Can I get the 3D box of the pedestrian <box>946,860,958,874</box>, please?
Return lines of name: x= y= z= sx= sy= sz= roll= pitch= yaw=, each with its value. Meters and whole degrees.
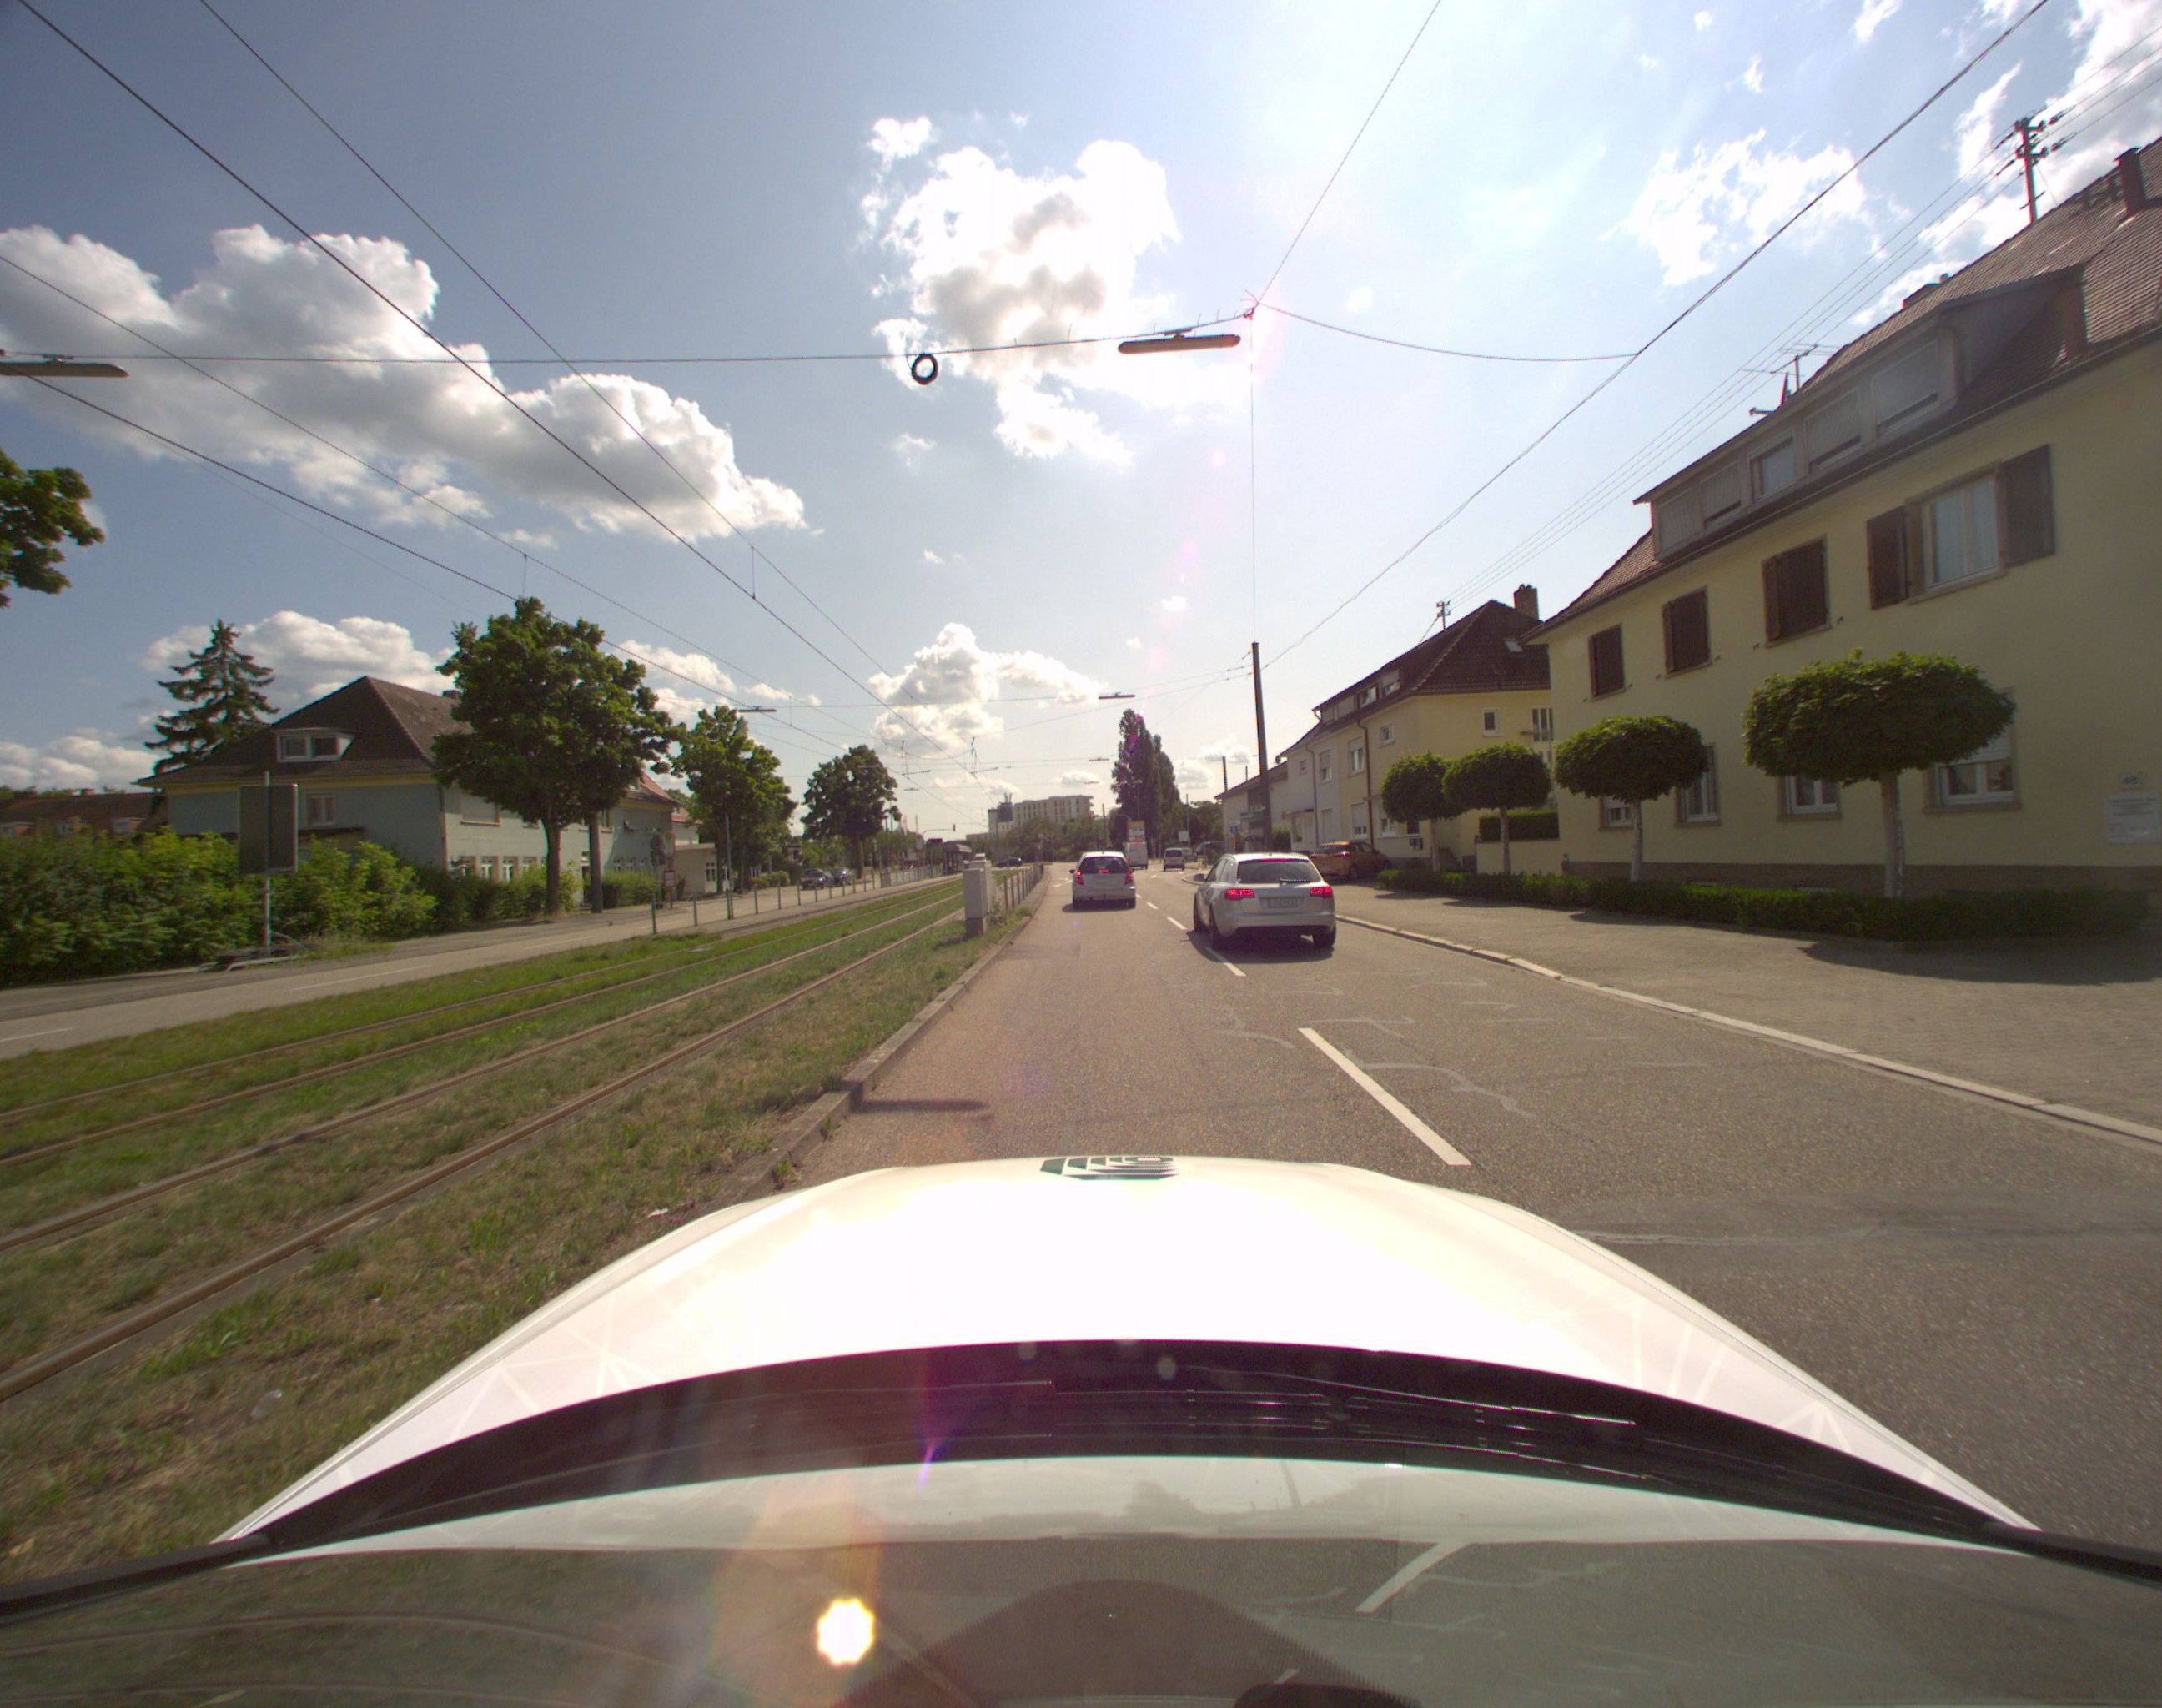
pedestrian: x=-12.913 y=1.256 z=81.478 sx=1.056 sy=1.376 sz=0.859 roll=-1 pitch=-1 yaw=-3

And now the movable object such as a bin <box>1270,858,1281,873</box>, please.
movable object such as a bin: x=12.048 y=0.711 z=50.374 sx=0.440 sy=0.935 sz=0.548 roll=-2 pitch=0 yaw=-7

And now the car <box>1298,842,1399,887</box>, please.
car: x=10.382 y=0.366 z=31.460 sx=4.116 sy=1.458 sz=1.893 roll=-4 pitch=2 yaw=-43

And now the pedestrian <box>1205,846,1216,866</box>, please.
pedestrian: x=12.180 y=0.197 z=76.648 sx=0.719 sy=1.782 sz=0.703 roll=-5 pitch=-1 yaw=0

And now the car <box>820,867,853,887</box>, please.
car: x=-21.325 y=1.961 z=71.189 sx=2.059 sy=1.614 sz=4.740 roll=-2 pitch=0 yaw=-8

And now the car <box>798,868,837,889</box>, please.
car: x=-20.971 y=1.925 z=64.971 sx=1.781 sy=1.584 sz=3.929 roll=-2 pitch=0 yaw=-1

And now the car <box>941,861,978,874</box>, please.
car: x=-17.093 y=1.909 z=114.643 sx=4.846 sy=1.660 sz=2.000 roll=-1 pitch=-1 yaw=0

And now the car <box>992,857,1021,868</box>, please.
car: x=-11.492 y=1.308 z=126.000 sx=4.338 sy=1.739 sz=2.000 roll=-1 pitch=-1 yaw=0

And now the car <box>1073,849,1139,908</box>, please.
car: x=0.697 y=0.661 z=23.871 sx=1.781 sy=1.577 sz=4.094 roll=0 pitch=0 yaw=1

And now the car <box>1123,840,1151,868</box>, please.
car: x=5.289 y=0.004 z=78.021 sx=2.036 sy=2.557 sz=5.225 roll=-2 pitch=0 yaw=-3

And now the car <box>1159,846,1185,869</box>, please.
car: x=7.484 y=0.324 z=66.519 sx=1.874 sy=1.731 sz=4.103 roll=-3 pitch=-1 yaw=8

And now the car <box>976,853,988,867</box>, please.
car: x=-18.126 y=1.126 z=148.993 sx=1.990 sy=2.606 sz=4.870 roll=-1 pitch=-1 yaw=-5

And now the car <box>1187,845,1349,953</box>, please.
car: x=2.938 y=0.653 z=13.818 sx=1.847 sy=1.492 sz=4.538 roll=-1 pitch=0 yaw=2
